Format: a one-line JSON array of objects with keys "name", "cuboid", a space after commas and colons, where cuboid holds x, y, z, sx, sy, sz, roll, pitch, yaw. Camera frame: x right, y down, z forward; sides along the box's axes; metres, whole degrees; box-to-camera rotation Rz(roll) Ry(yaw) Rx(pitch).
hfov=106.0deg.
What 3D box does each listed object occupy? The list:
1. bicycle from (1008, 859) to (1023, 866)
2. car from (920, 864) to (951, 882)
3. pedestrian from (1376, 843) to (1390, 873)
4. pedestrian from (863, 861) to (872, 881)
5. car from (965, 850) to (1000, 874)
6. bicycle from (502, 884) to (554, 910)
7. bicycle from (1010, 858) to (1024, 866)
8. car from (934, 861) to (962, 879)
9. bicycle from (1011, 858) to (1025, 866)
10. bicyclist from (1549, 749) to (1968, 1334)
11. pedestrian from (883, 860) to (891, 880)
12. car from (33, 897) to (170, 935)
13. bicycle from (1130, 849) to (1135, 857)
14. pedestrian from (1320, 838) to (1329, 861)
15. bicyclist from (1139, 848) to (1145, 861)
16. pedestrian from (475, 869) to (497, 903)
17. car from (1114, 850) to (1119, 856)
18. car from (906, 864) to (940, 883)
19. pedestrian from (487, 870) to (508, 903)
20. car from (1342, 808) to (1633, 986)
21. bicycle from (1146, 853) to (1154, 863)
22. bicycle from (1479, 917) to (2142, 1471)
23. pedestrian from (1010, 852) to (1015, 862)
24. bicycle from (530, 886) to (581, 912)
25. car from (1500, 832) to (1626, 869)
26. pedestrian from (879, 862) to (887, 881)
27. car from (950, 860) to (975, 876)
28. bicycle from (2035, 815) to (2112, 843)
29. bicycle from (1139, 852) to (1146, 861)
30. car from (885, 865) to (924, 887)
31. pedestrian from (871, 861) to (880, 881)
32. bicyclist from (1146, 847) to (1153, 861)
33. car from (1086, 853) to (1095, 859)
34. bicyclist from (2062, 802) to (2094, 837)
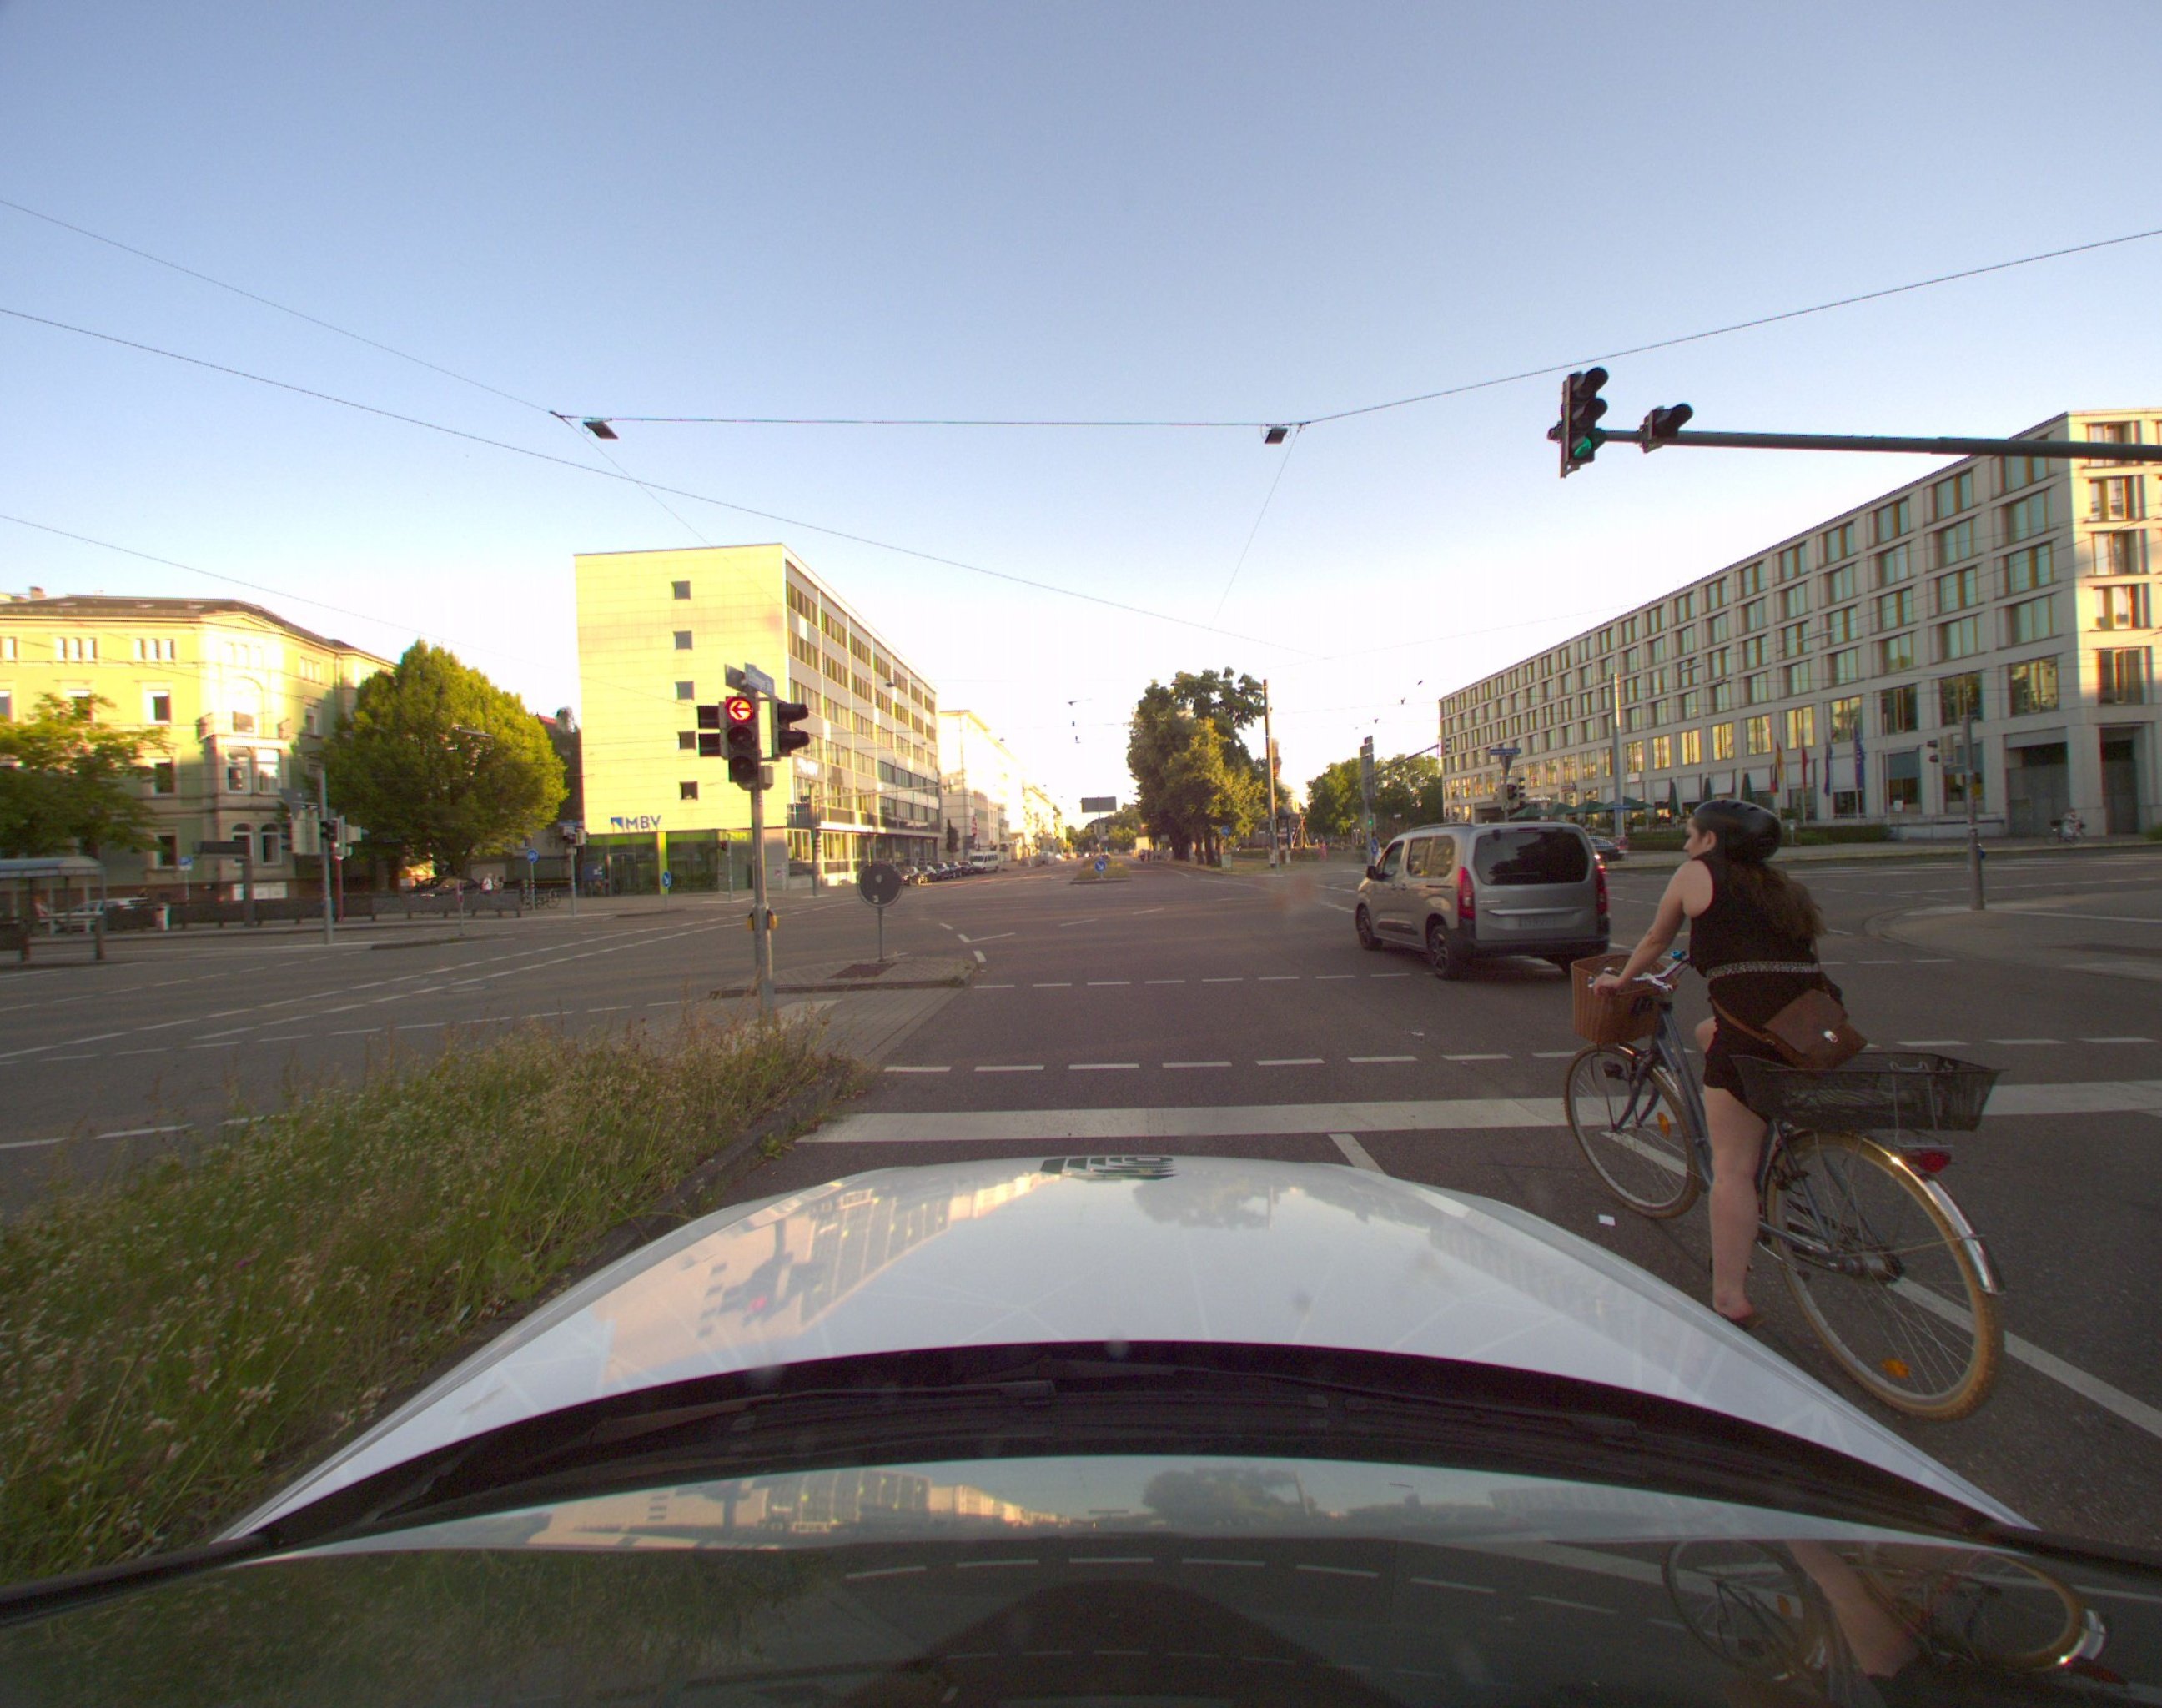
[{"name": "bicycle", "cuboid": [-10.079, 1.316, 125.942, 2.198, 1.112, 0.619, -3, 0, 0]}, {"name": "car", "cuboid": [-13.102, 1.680, 73.729, 1.913, 1.464, 4.002, -3, 0, 2]}, {"name": "pedestrian", "cuboid": [15.974, 0.225, 43.060, 0.489, 1.540, 0.408, -3, 0, 1]}, {"name": "pedestrian", "cuboid": [-18.408, 1.500, 70.097, 0.549, 1.679, 0.500, -3, 0, 1]}, {"name": "car", "cuboid": [-11.055, 0.862, 91.688, 1.988, 2.478, 5.888, -3, 0, 12]}, {"name": "bicycle", "cuboid": [-27.021, 2.099, 39.867, 0.832, 1.112, 2.216, -3, 0, 6]}, {"name": "bicycle", "cuboid": [-10.001, 1.296, 127.478, 2.198, 1.112, 0.689, -3, 0, 0]}, {"name": "car", "cuboid": [-12.850, 1.570, 79.030, 1.913, 1.568, 4.002, -3, 0, 2]}, {"name": "bicycle", "cuboid": [-10.000, 1.261, 129.338, 2.198, 1.236, 0.839, -3, 0, 0]}, {"name": "bicyclist", "cuboid": [2.188, 0.527, 2.786, 0.597, 1.636, 0.999, -1, 0, 2]}, {"name": "pedestrian", "cuboid": [-16.750, 1.389, 70.311, 0.549, 1.679, 0.500, -3, 0, 1]}, {"name": "car", "cuboid": [-45.215, 2.839, 37.684, 3.588, 1.372, 1.833, -3, 0, -15]}, {"name": "bicycle", "cuboid": [13.165, -0.273, 208.795, 0.998, 2.013, 4.002, -3, 0, 2]}, {"name": "pedestrian", "cuboid": [17.574, -0.340, 58.815, 0.458, 1.656, 0.567, -3, 0, 1]}, {"name": "bicyclist", "cuboid": [7.867, 0.076, 104.831, 0.744, 1.663, 0.873, -3, 0, 1]}, {"name": "pedestrian", "cuboid": [-32.125, 1.708, 43.957, 0.641, 1.790, 0.720, -3, 0, -12]}, {"name": "car", "cuboid": [10.747, -0.224, 246.050, 1.403, 1.641, 4.000, -3, 0, 1]}, {"name": "car", "cuboid": [-13.310, 1.643, 68.916, 1.913, 1.464, 4.002, -3, 0, 2]}, {"name": "pedestrian", "cuboid": [-32.027, 1.776, 44.701, 0.641, 1.790, 0.720, -3, 0, -12]}, {"name": "car", "cuboid": [5.098, 0.460, 11.029, 1.756, 1.888, 4.501, -1, 0, 1]}, {"name": "bicycle", "cuboid": [8.892, 0.524, 104.941, 0.744, 1.144, 2.506, -3, 0, 2]}, {"name": "bicycle", "cuboid": [2.194, 0.873, 2.907, 0.609, 1.132, 2.005, -1, 0, 2]}, {"name": "pedestrian", "cuboid": [-13.914, 0.608, 165.423, 0.677, 2.013, 0.545, -3, 0, 1]}, {"name": "bicycle", "cuboid": [-25.671, 2.180, 39.847, 0.832, 1.112, 2.216, -3, 0, 6]}, {"name": "car", "cuboid": [23.133, -0.166, 39.219, 4.803, 1.515, 2.002, -3, 0, 4]}, {"name": "pedestrian", "cuboid": [-17.244, 1.516, 70.887, 0.498, 1.679, 0.500, -3, 0, 1]}, {"name": "car", "cuboid": [-12.382, 1.442, 85.253, 1.913, 1.568, 4.002, -3, 0, 2]}, {"name": "bicycle", "cuboid": [44.823, -1.112, 36.802, 2.762, 1.106, 0.602, -3, 0, -1]}, {"name": "bicycle", "cuboid": [7.902, 0.344, 105.164, 0.744, 1.144, 2.506, -3, 0, 2]}, {"name": "car", "cuboid": [-13.507, 1.656, 62.419, 1.913, 1.464, 4.105, -3, 0, 2]}, {"name": "pedestrian", "cuboid": [-17.918, 1.503, 70.897, 0.549, 1.679, 0.500, -3, 0, 1]}, {"name": "bicyclist", "cuboid": [8.865, 0.015, 104.945, 0.744, 1.691, 0.799, -3, 0, 1]}, {"name": "car", "cuboid": [2.452, 0.481, 207.131, 1.855, 1.519, 4.003, -3, 0, 3]}, {"name": "bicyclist", "cuboid": [45.046, -1.562, 36.795, 0.705, 1.537, 0.577, -3, 0, -1]}]
